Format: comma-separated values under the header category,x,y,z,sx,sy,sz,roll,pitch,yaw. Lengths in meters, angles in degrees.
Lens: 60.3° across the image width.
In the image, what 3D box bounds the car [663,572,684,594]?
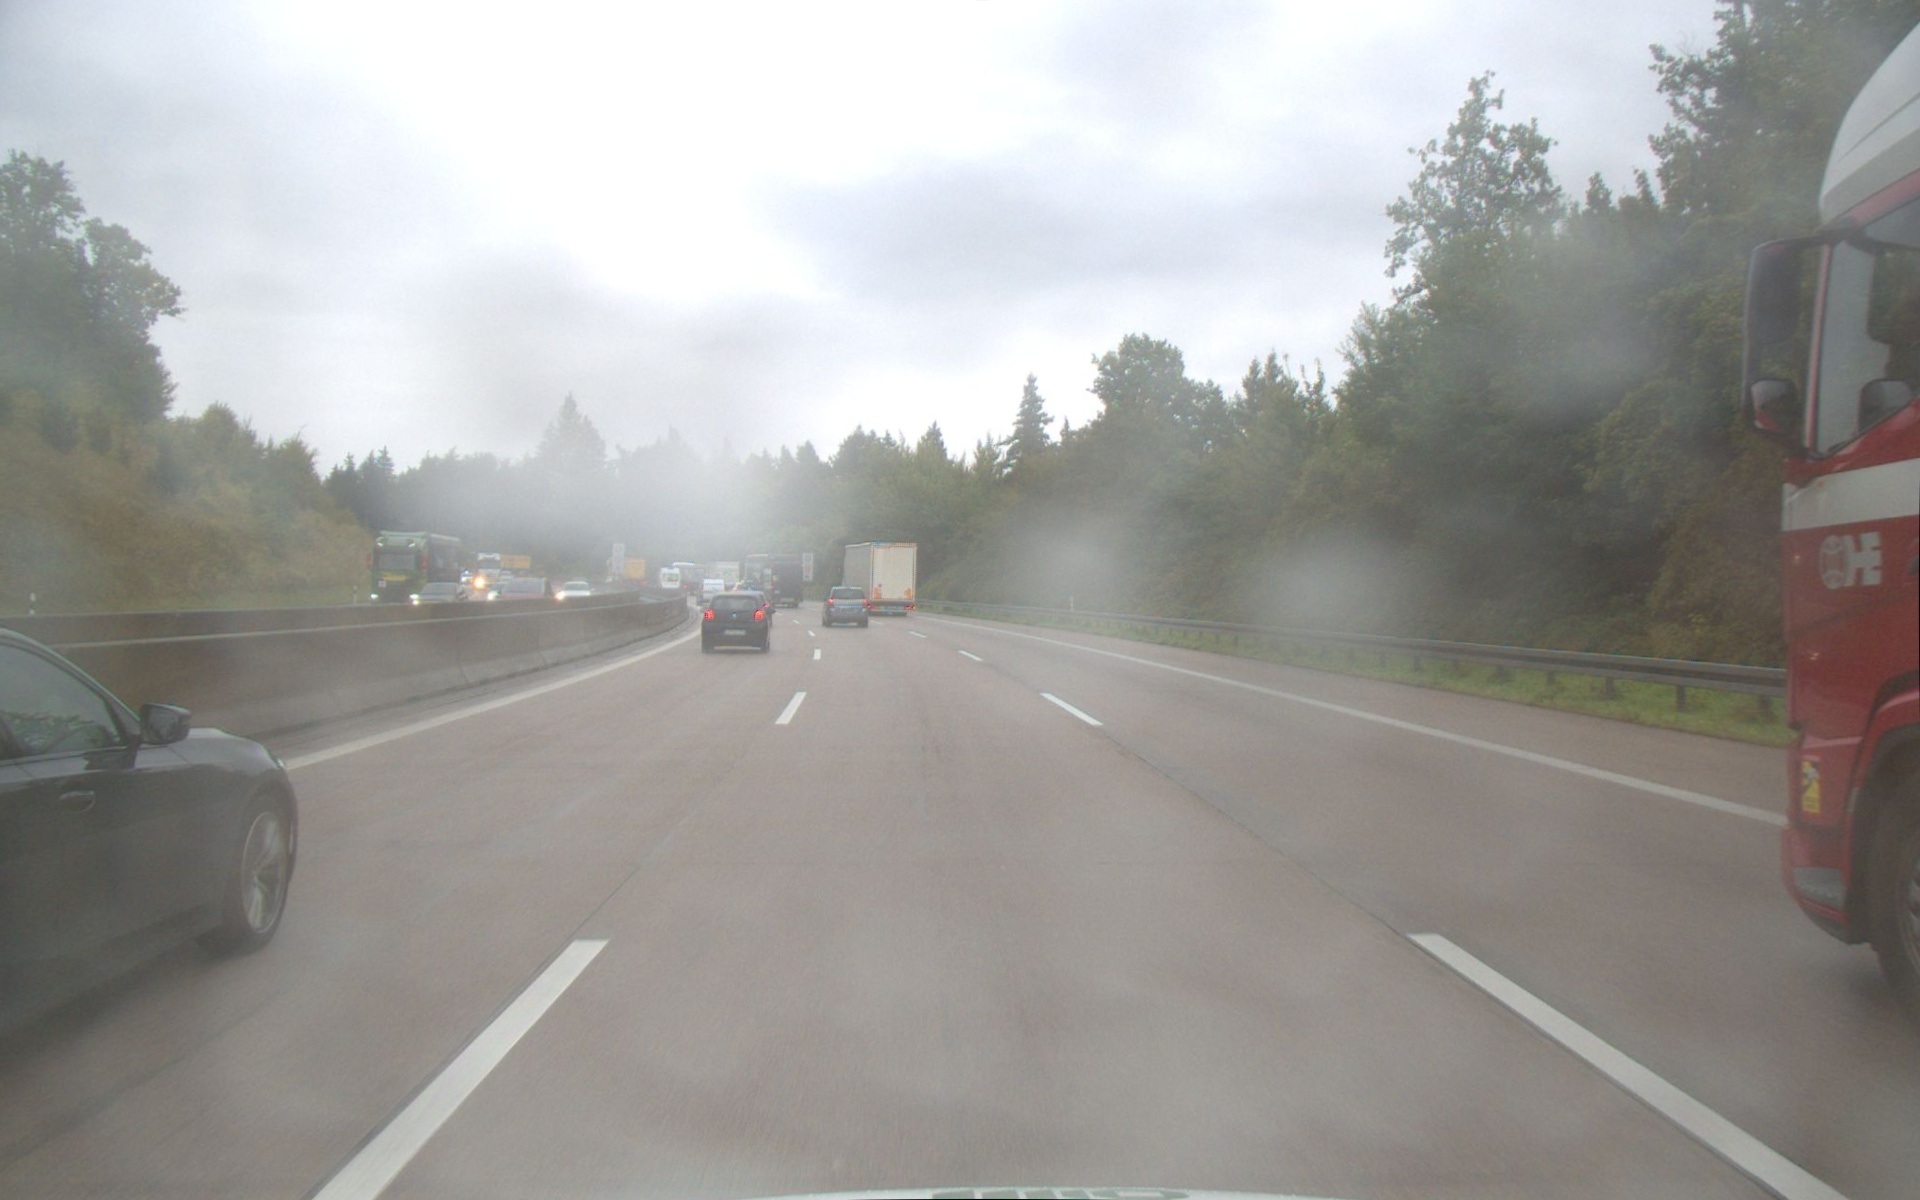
category,x,y,z,sx,sy,sz,roll,pitch,yaw
car,-28.093,-1.664,162.222,1.957,2.095,3.990,0,0,-10

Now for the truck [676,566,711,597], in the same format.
category,x,y,z,sx,sy,sz,roll,pitch,yaw
truck,-27.928,-1.970,173.227,3.030,2.956,7.877,1,2,-13

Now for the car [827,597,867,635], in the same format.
category,x,y,z,sx,sy,sz,roll,pitch,yaw
car,-4.590,0.628,67.314,1.523,1.375,3.681,3,0,-4

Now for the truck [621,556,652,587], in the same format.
category,x,y,z,sx,sy,sz,roll,pitch,yaw
truck,-46.064,-4.054,235.400,3.681,4.283,6.784,0,0,-18

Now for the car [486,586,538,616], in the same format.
category,x,y,z,sx,sy,sz,roll,pitch,yaw
car,-24.925,0.025,92.128,1.954,1.612,4.767,0,0,-5

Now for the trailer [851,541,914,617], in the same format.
category,x,y,z,sx,sy,sz,roll,pitch,yaw
trailer,-4.619,-1.258,96.312,2.375,4.139,12.031,1,1,-9

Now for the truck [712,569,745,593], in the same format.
category,x,y,z,sx,sy,sz,roll,pitch,yaw
truck,-25.456,-2.113,181.673,2.923,2.349,6.646,3,0,-13

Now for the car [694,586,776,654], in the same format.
category,x,y,z,sx,sy,sz,roll,pitch,yaw
car,-5.492,0.459,40.689,1.650,1.487,3.681,3,0,-3

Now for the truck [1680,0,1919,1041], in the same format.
category,x,y,z,sx,sy,sz,roll,pitch,yaw
truck,4.393,-0.520,4.283,2.326,4.023,6.159,0,0,-1

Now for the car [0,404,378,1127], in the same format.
category,x,y,z,sx,sy,sz,roll,pitch,yaw
car,-3.560,0.446,4.635,1.869,1.979,6.160,0,0,-2

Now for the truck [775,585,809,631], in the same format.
category,x,y,z,sx,sy,sz,roll,pitch,yaw
truck,-11.991,0.543,117.598,2.226,2.937,7.893,1,1,-6

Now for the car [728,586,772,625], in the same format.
category,x,y,z,sx,sy,sz,roll,pitch,yaw
car,-8.223,0.192,64.876,1.524,1.375,3.680,3,0,-5

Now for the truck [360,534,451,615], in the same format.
category,x,y,z,sx,sy,sz,roll,pitch,yaw
truck,-29.095,-1.312,87.151,2.871,4.030,8.107,0,0,-6

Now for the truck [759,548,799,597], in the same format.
category,x,y,z,sx,sy,sz,roll,pitch,yaw
truck,-16.496,-2.537,150.239,3.305,4.203,10.421,1,1,-7

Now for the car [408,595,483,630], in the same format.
category,x,y,z,sx,sy,sz,roll,pitch,yaw
car,-20.717,0.491,66.776,1.954,1.316,4.293,0,0,-5

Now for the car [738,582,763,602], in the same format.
category,x,y,z,sx,sy,sz,roll,pitch,yaw
car,-16.837,-0.669,133.005,1.845,1.498,3.995,3,0,-6

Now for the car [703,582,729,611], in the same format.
category,x,y,z,sx,sy,sz,roll,pitch,yaw
car,-17.366,-0.244,117.696,1.692,2.049,3.651,0,0,-7

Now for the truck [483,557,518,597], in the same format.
category,x,y,z,sx,sy,sz,roll,pitch,yaw
truck,-47.672,-2.377,171.643,2.855,3.957,7.345,1,0,-11
